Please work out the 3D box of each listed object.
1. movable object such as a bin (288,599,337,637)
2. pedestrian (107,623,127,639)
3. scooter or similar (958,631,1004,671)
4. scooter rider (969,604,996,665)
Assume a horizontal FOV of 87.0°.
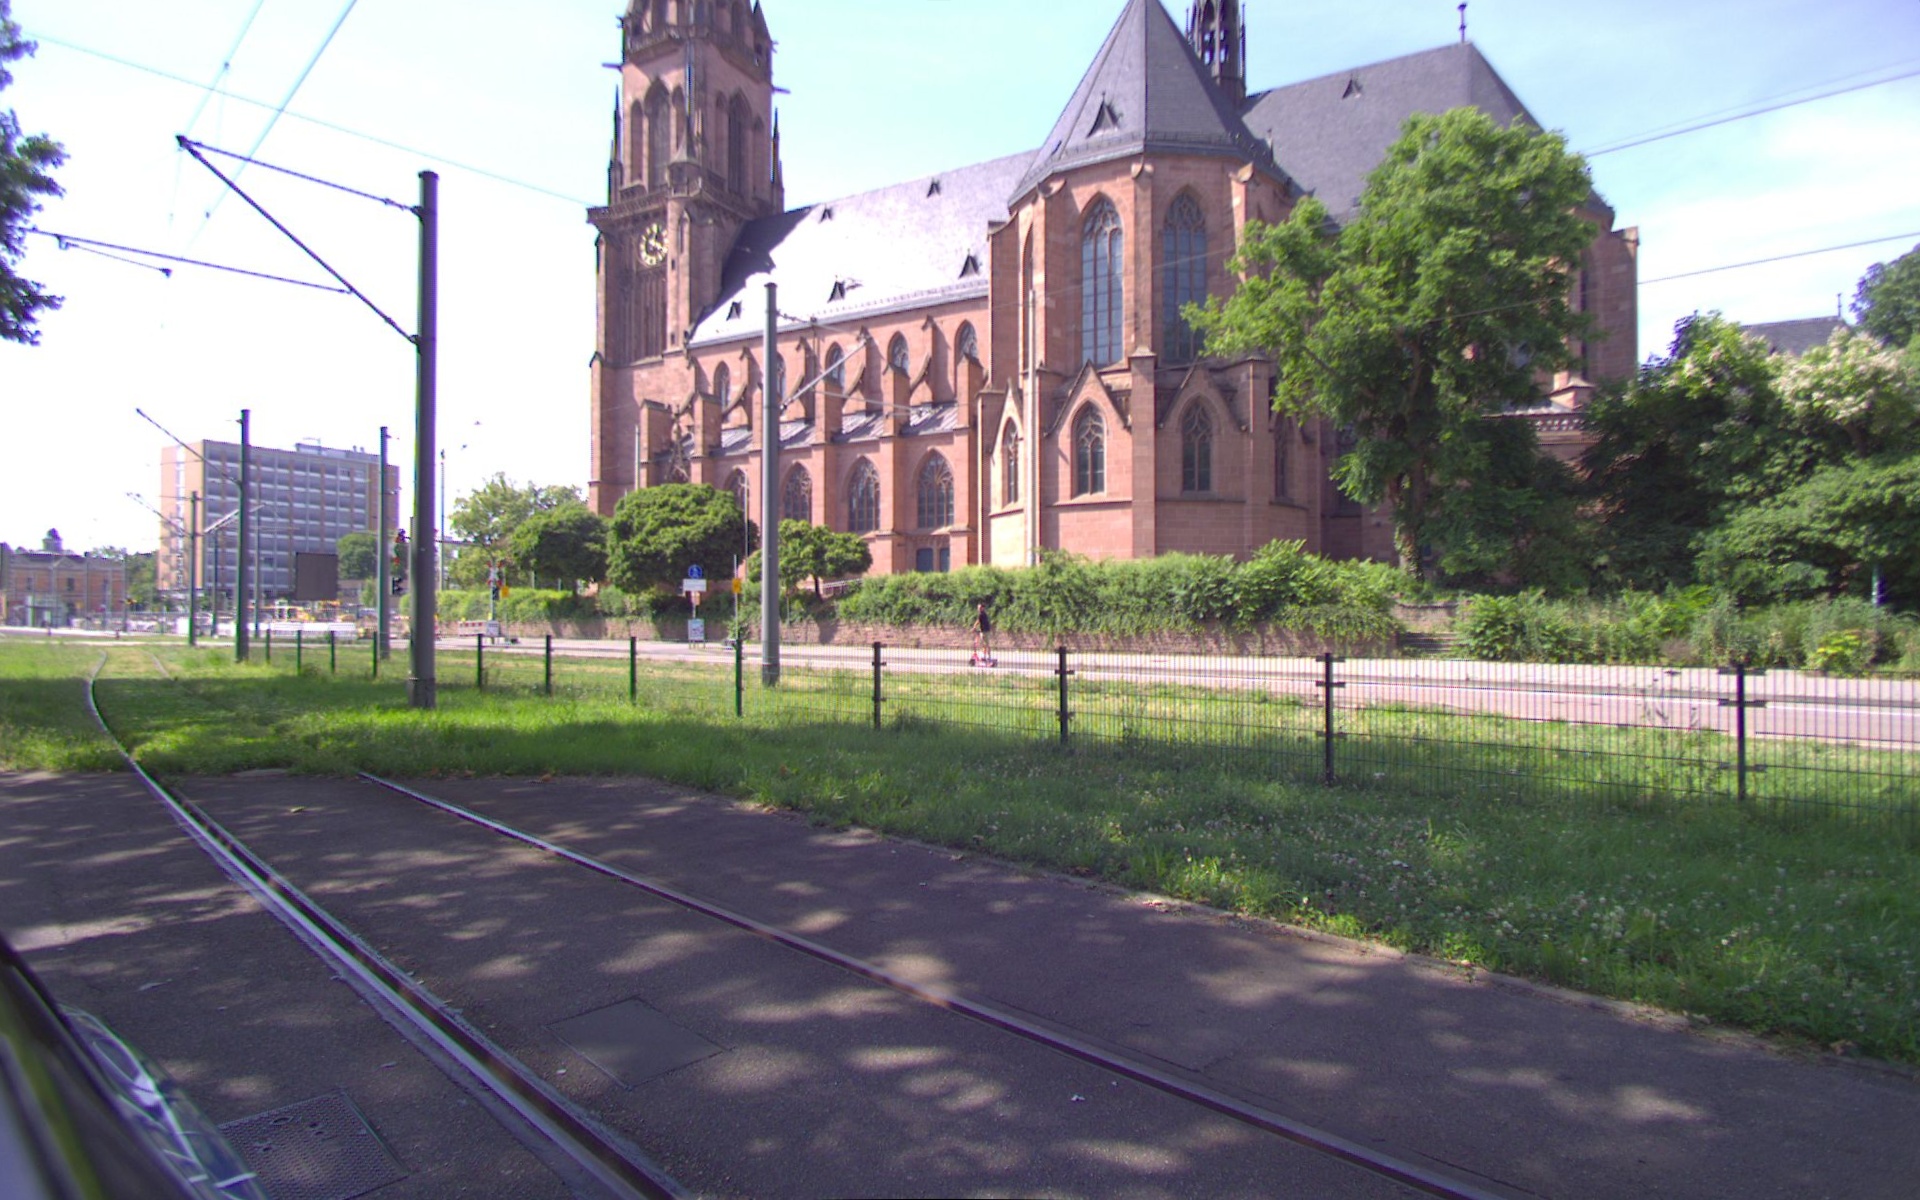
[{"bbox_3d":[-68.497,1.919,107.109,2.904,3.911,3.327,0,-1,8],"label":"movable object such as a bin"},{"bbox_3d":[-94.174,3.472,113.093,1.420,1.820,1.409,-1,-1,37],"label":"pedestrian"},{"bbox_3d":[0.653,1.585,31.583,1.248,1.213,0.659,0,-1,-20],"label":"scooter or similar"},{"bbox_3d":[0.694,1.063,31.600,0.657,1.881,0.666,0,-1,-20],"label":"scooter rider"}]
